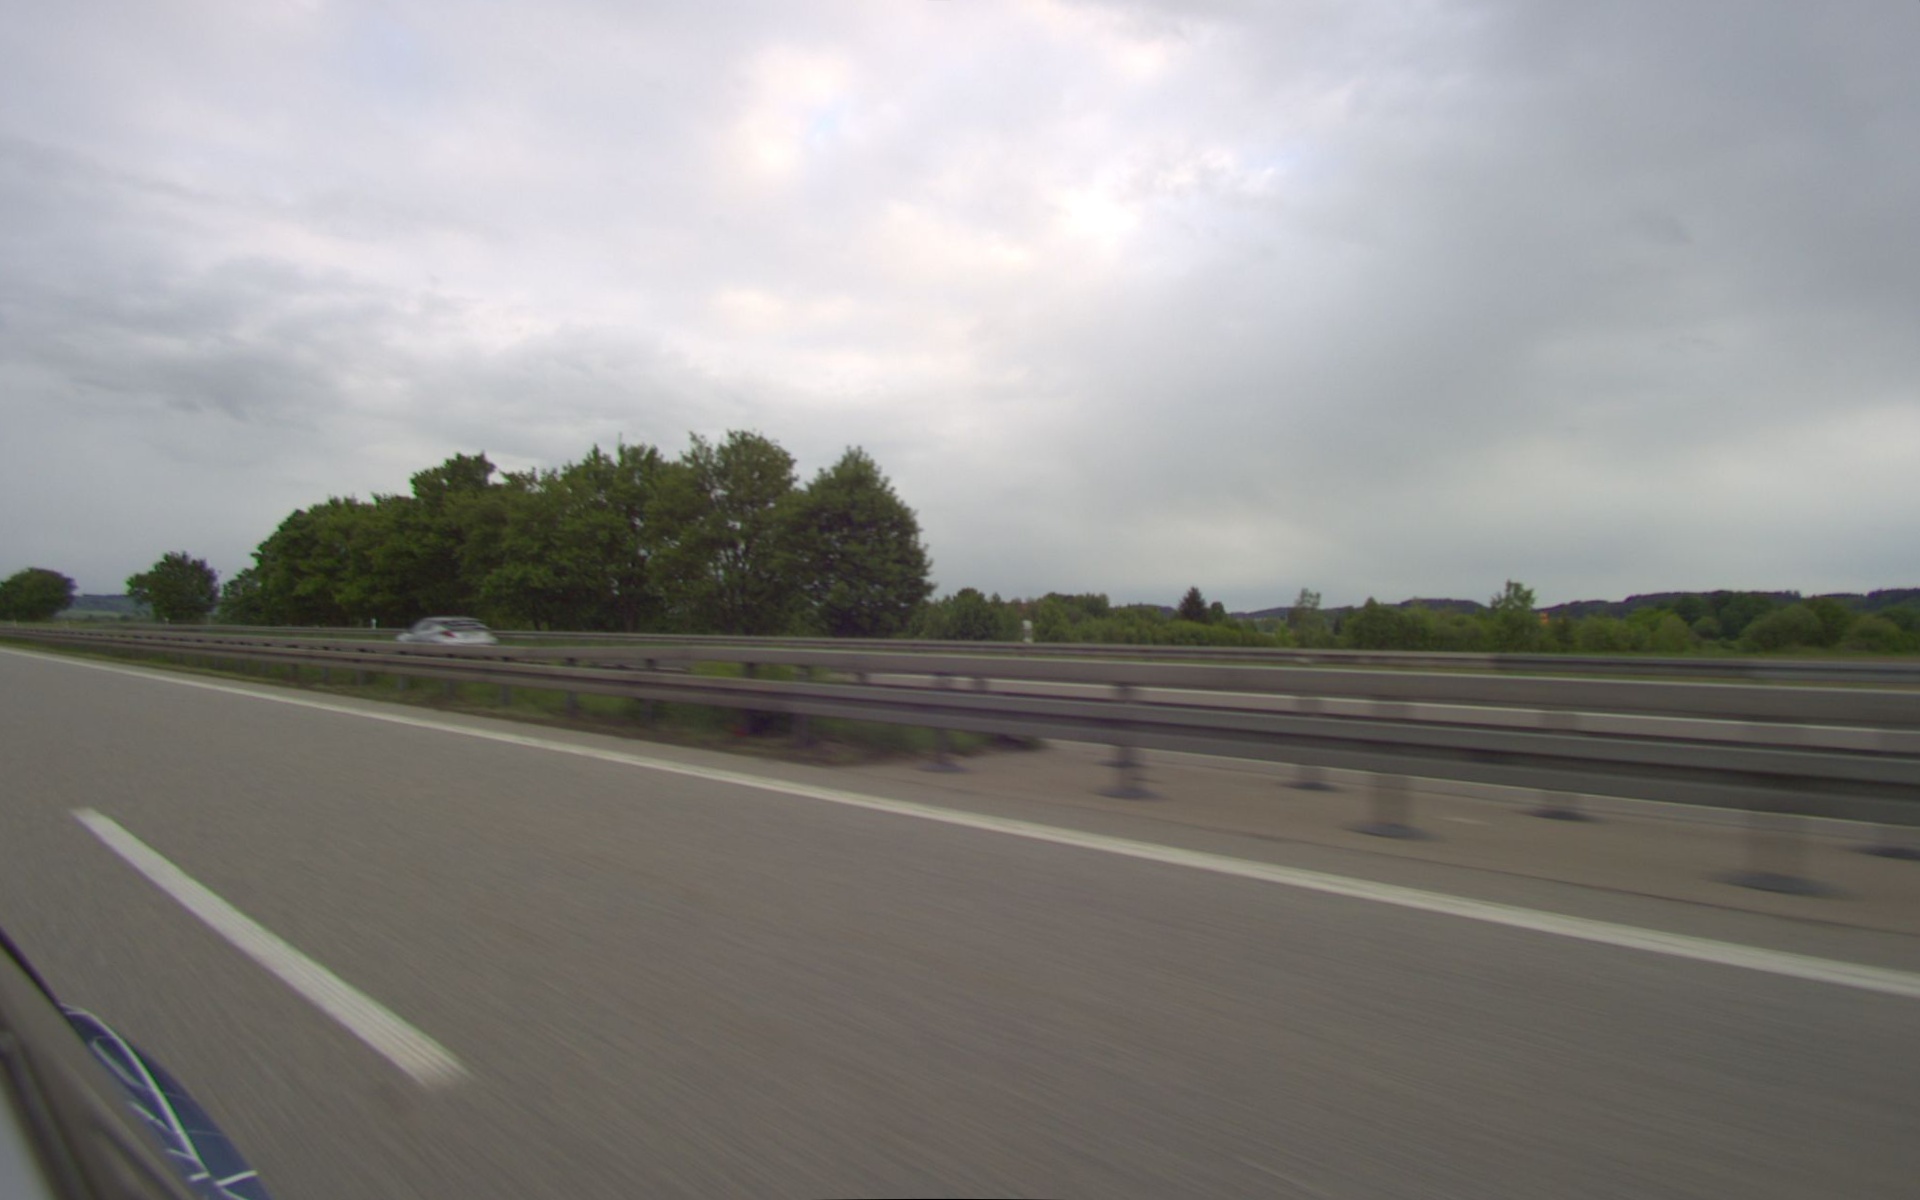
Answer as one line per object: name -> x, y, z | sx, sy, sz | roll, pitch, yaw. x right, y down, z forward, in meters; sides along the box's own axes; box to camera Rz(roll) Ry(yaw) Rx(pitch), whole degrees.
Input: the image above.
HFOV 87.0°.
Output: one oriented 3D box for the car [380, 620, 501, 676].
car -> -16.434, 1.449, 31.918 | 4.854, 1.586, 1.722 | -1, 0, 41
